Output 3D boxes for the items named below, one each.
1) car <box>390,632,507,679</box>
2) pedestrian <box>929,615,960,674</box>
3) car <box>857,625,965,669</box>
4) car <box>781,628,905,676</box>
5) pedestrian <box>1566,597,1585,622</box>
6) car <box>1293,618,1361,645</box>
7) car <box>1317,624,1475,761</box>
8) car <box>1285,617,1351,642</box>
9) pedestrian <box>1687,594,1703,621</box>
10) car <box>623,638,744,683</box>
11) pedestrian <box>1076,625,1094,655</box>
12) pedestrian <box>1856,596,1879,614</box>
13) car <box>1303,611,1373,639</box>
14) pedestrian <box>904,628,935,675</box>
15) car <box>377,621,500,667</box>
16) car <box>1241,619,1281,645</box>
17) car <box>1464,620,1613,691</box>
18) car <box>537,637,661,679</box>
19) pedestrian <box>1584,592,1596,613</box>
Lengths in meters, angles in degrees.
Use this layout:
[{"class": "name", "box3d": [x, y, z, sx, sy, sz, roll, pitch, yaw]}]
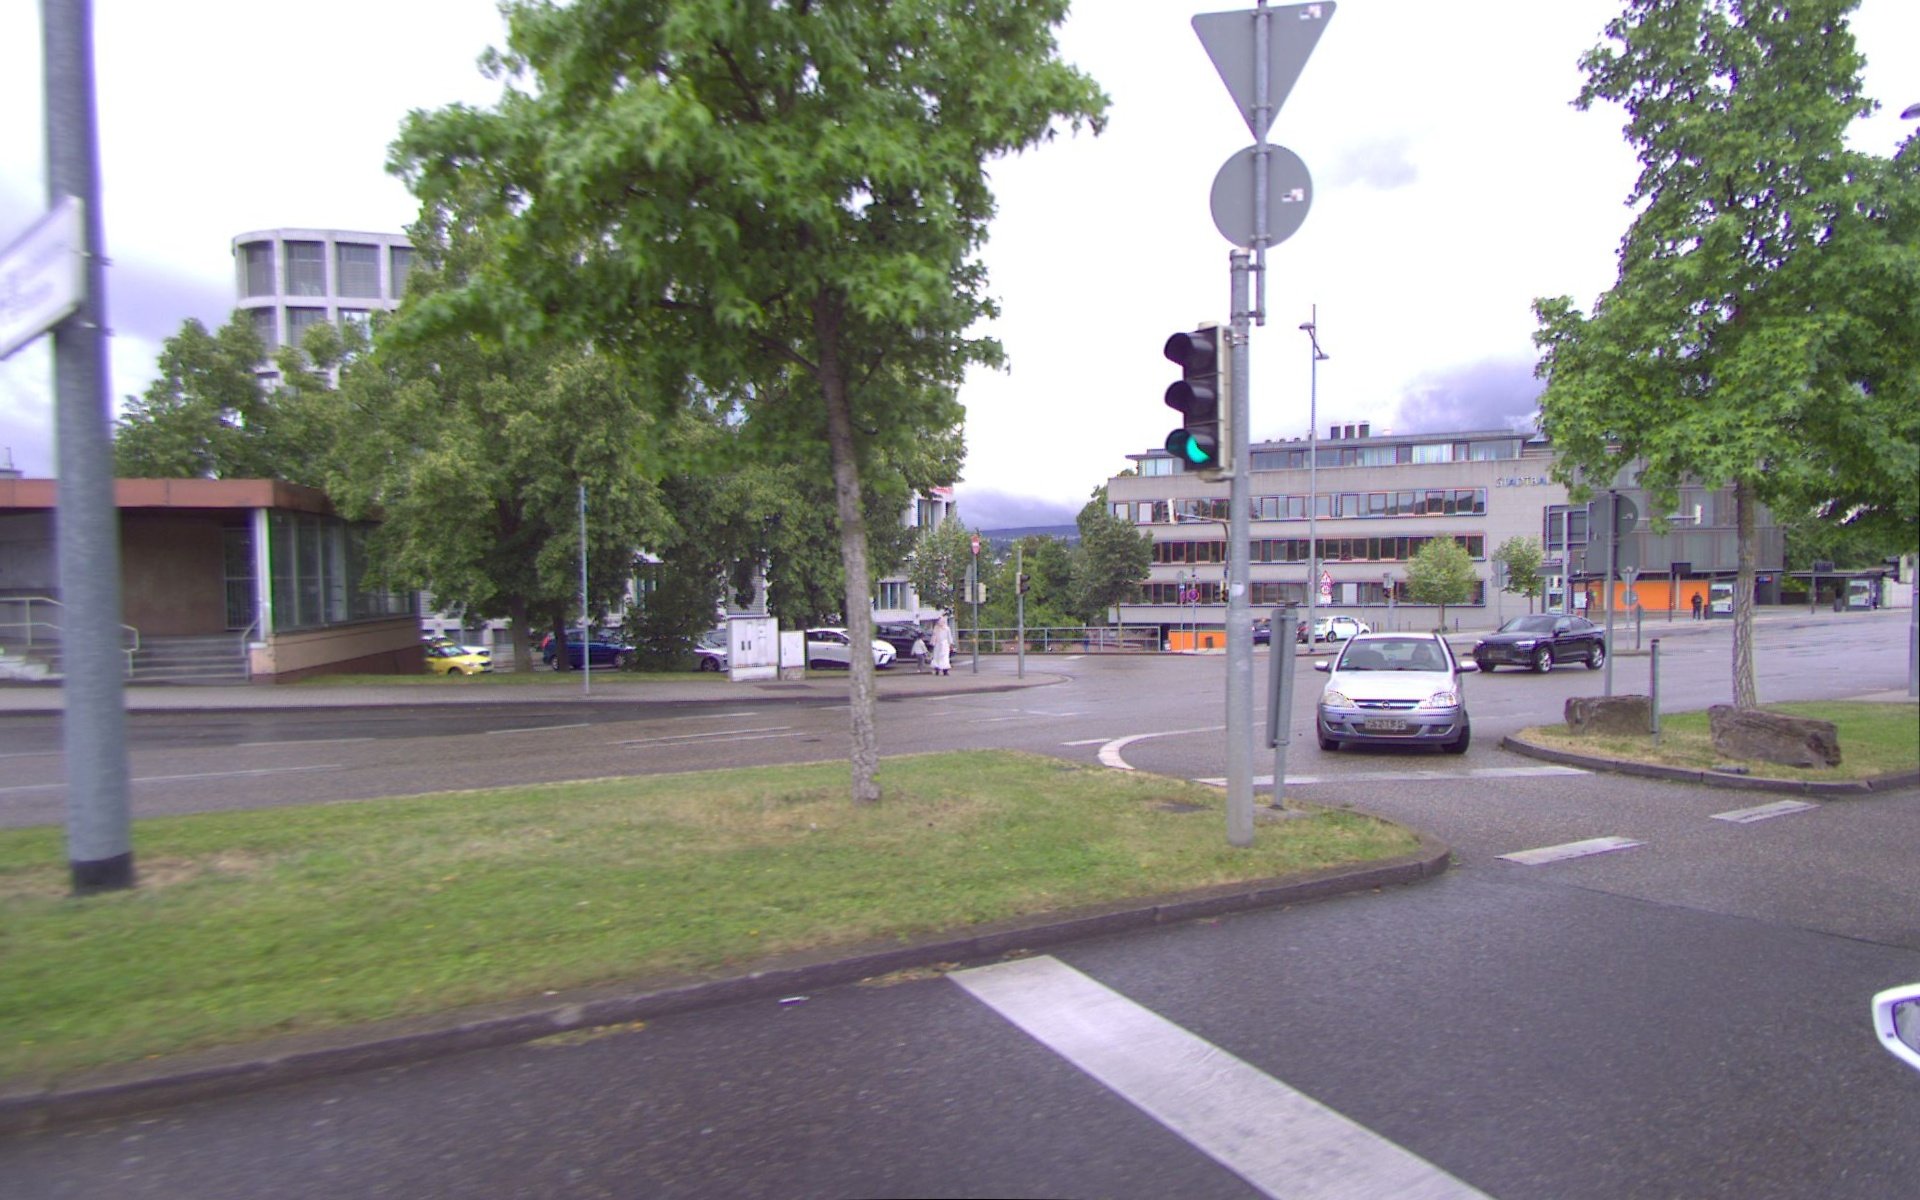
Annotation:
[{"class": "car", "box3d": [-19.478, 2.103, 38.331, 3.578, 1.721, 1.729, -1, 0, 7]}, {"class": "pedestrian", "box3d": [-0.420, 1.232, 27.709, 0.644, 1.590, 0.627, 1, -2, -25]}, {"class": "car", "box3d": [-1.843, 1.777, 38.223, 3.760, 1.589, 1.729, -1, 0, 13]}, {"class": "car", "box3d": [-4.205, 1.853, 36.300, 4.058, 1.589, 1.888, -1, 0, 14]}, {"class": "pedestrian", "box3d": [34.982, 0.518, 57.103, 0.713, 1.411, 0.674, -1, 0, -32]}, {"class": "car", "box3d": [22.145, 1.860, 60.633, 3.522, 1.515, 1.628, -1, 0, -15]}, {"class": "car", "box3d": [5.704, 1.064, 13.009, 1.606, 1.467, 3.872, -1, -1, 26]}, {"class": "car", "box3d": [22.991, 1.886, 64.692, 3.711, 1.515, 1.767, -1, 0, 8]}, {"class": "pedestrian", "box3d": [46.121, 0.473, 63.061, 0.752, 1.706, 0.473, -1, 0, -24]}, {"class": "car", "box3d": [-10.239, 2.230, 37.337, 3.973, 1.528, 1.729, -1, 0, 11]}, {"class": "pedestrian", "box3d": [6.731, 2.155, 54.124, 0.697, 1.604, 0.667, 0, 0, -32]}, {"class": "pedestrian", "box3d": [68.670, 0.362, 76.006, 0.834, 1.285, 0.977, -1, 4, -9]}, {"class": "car", "box3d": [22.109, 1.465, 58.740, 3.522, 1.515, 1.628, -1, 0, -15]}, {"class": "pedestrian", "box3d": [-1.148, 1.467, 28.561, 0.626, 1.309, 0.645, 2, -3, -43]}, {"class": "car", "box3d": [-21.861, 1.844, 42.151, 4.340, 1.842, 1.729, -1, 0, 7]}, {"class": "car", "box3d": [17.089, 1.778, 57.130, 1.453, 1.369, 3.583, 0, 0, 4]}, {"class": "car", "box3d": [17.026, 1.558, 29.475, 4.807, 1.684, 1.896, -2, 1, -34]}, {"class": "car", "box3d": [-14.809, 2.379, 41.334, 4.488, 1.589, 1.729, -1, 0, 5]}, {"class": "pedestrian", "box3d": [51.860, 0.187, 82.689, 0.630, 1.706, 0.475, -1, 0, 1]}]
